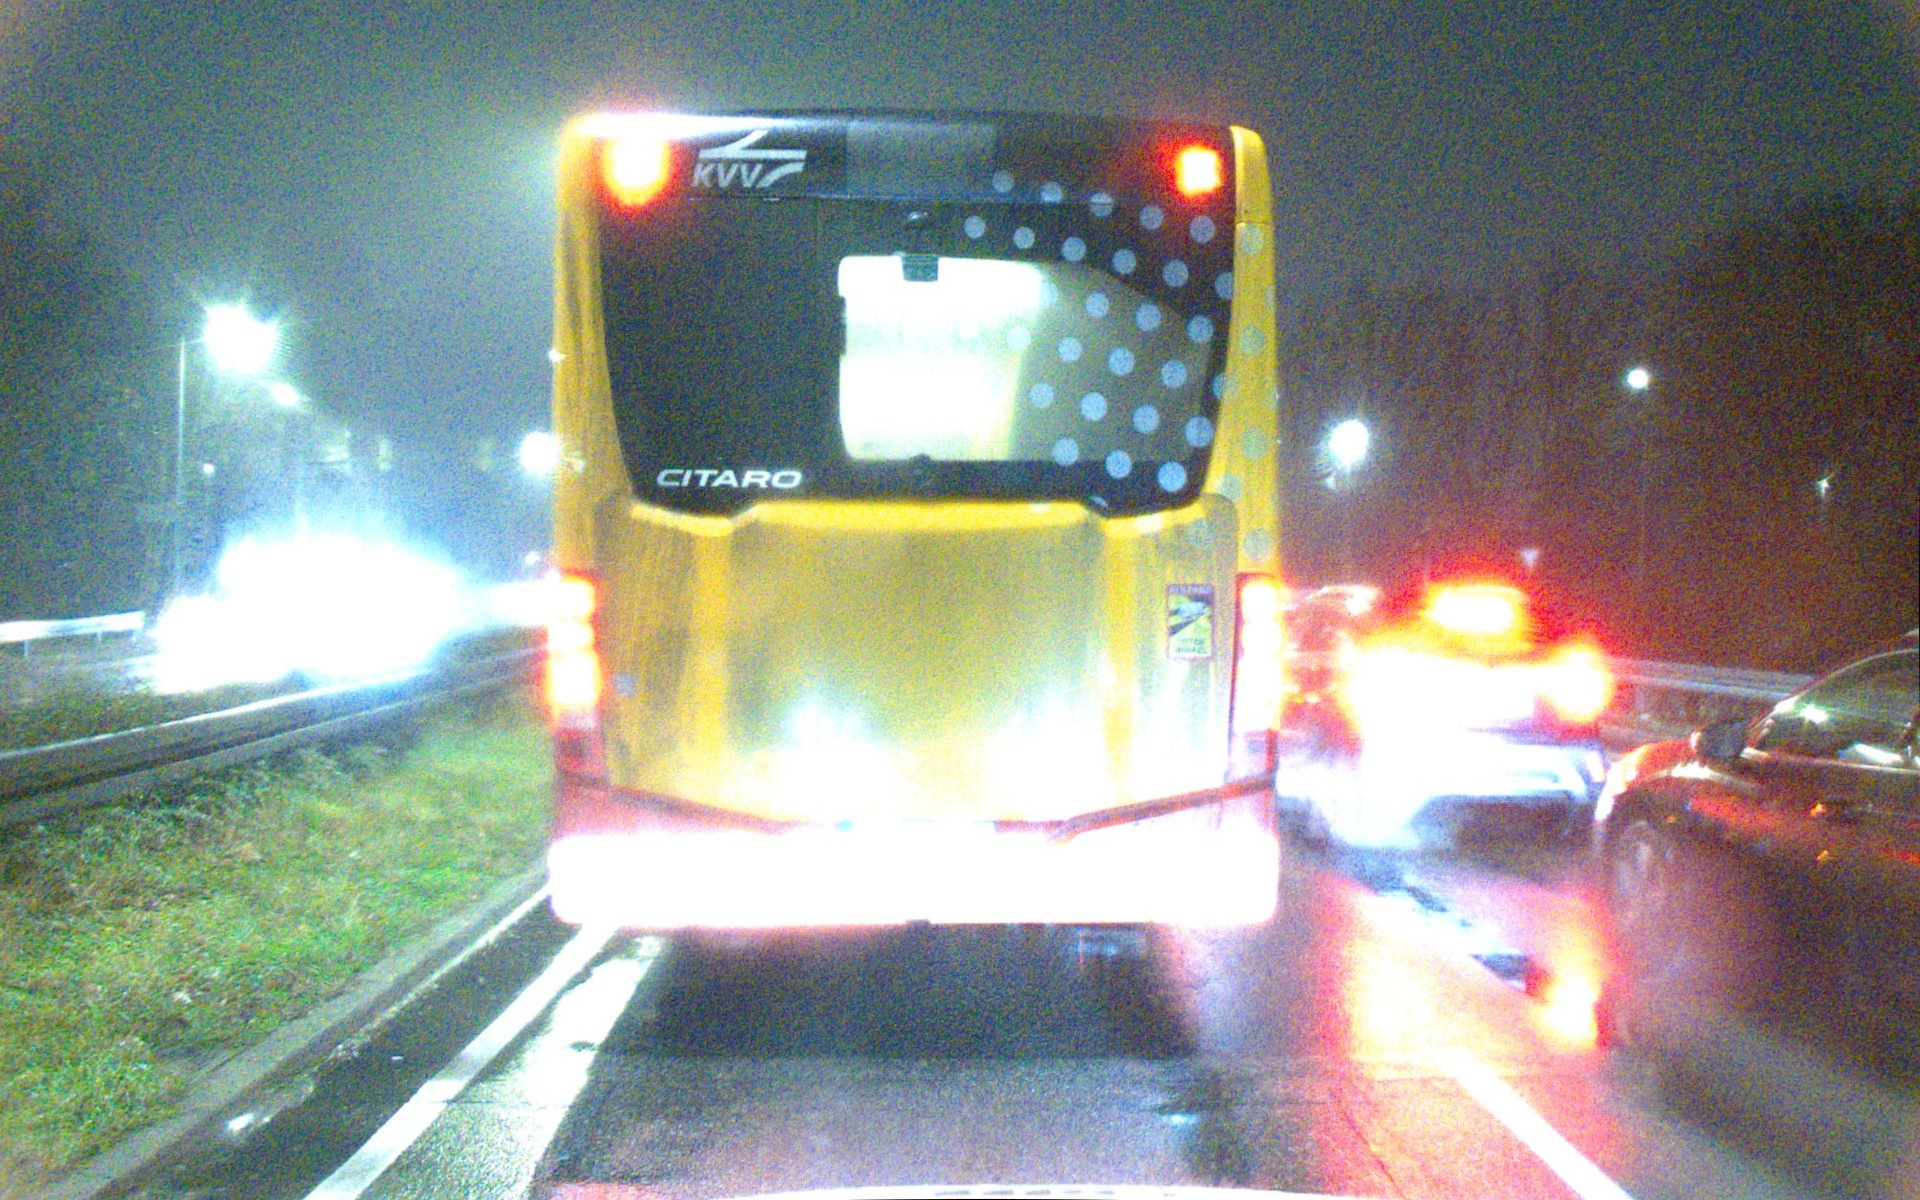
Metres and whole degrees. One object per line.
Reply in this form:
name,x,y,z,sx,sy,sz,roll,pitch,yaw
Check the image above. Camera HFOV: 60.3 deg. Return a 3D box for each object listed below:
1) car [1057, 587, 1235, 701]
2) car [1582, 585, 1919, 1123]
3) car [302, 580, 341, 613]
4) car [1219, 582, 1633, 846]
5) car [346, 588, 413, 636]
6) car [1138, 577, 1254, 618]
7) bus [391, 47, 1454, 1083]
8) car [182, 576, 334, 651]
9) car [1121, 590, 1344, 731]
car,2.581,0.591,23.890,1.953,1.466,3.998,1,0,-3
car,3.578,0.761,4.913,1.639,1.532,4.558,2,0,-1
car,-32.777,-0.204,84.856,1.741,1.659,4.221,0,1,-23
car,3.097,0.690,11.837,1.644,1.548,3.957,1,0,-3
car,-18.754,0.387,53.571,1.683,1.448,4.648,-1,0,-15
car,9.798,-0.119,68.728,4.399,1.545,1.854,1,2,-9
bus,-0.280,-0.236,9.803,3.219,3.103,9.540,0,2,-2
car,-15.425,0.281,36.612,1.957,1.534,4.829,0,0,-9
car,2.845,0.587,18.040,1.652,1.353,3.959,0,0,-2
